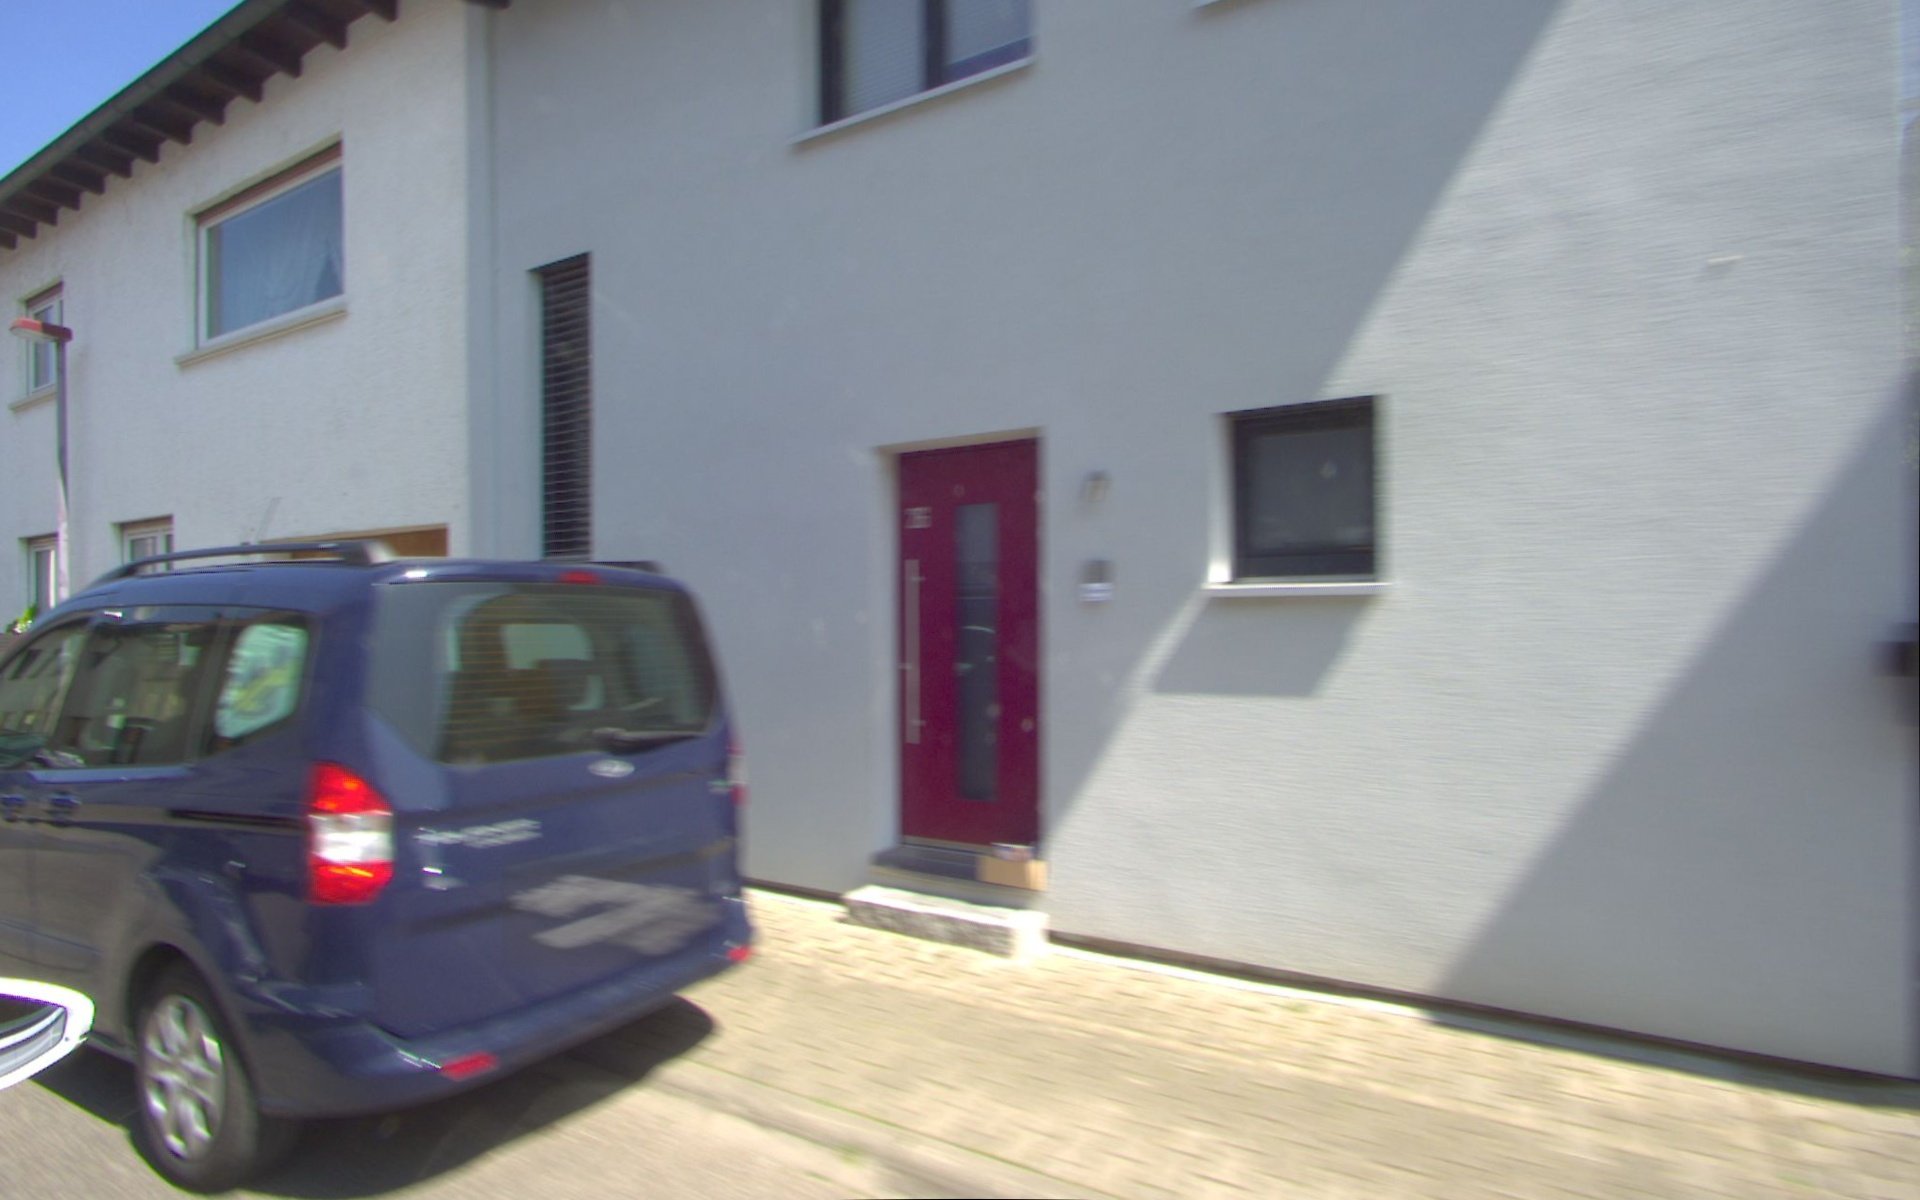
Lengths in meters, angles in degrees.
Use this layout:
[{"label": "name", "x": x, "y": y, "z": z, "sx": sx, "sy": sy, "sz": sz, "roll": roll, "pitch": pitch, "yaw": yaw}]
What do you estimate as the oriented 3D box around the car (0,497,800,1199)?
[{"label": "car", "x": -2.800, "y": 0.729, "z": 4.037, "sx": 4.137, "sy": 1.800, "sz": 1.695, "roll": -1, "pitch": -2, "yaw": 31}]
